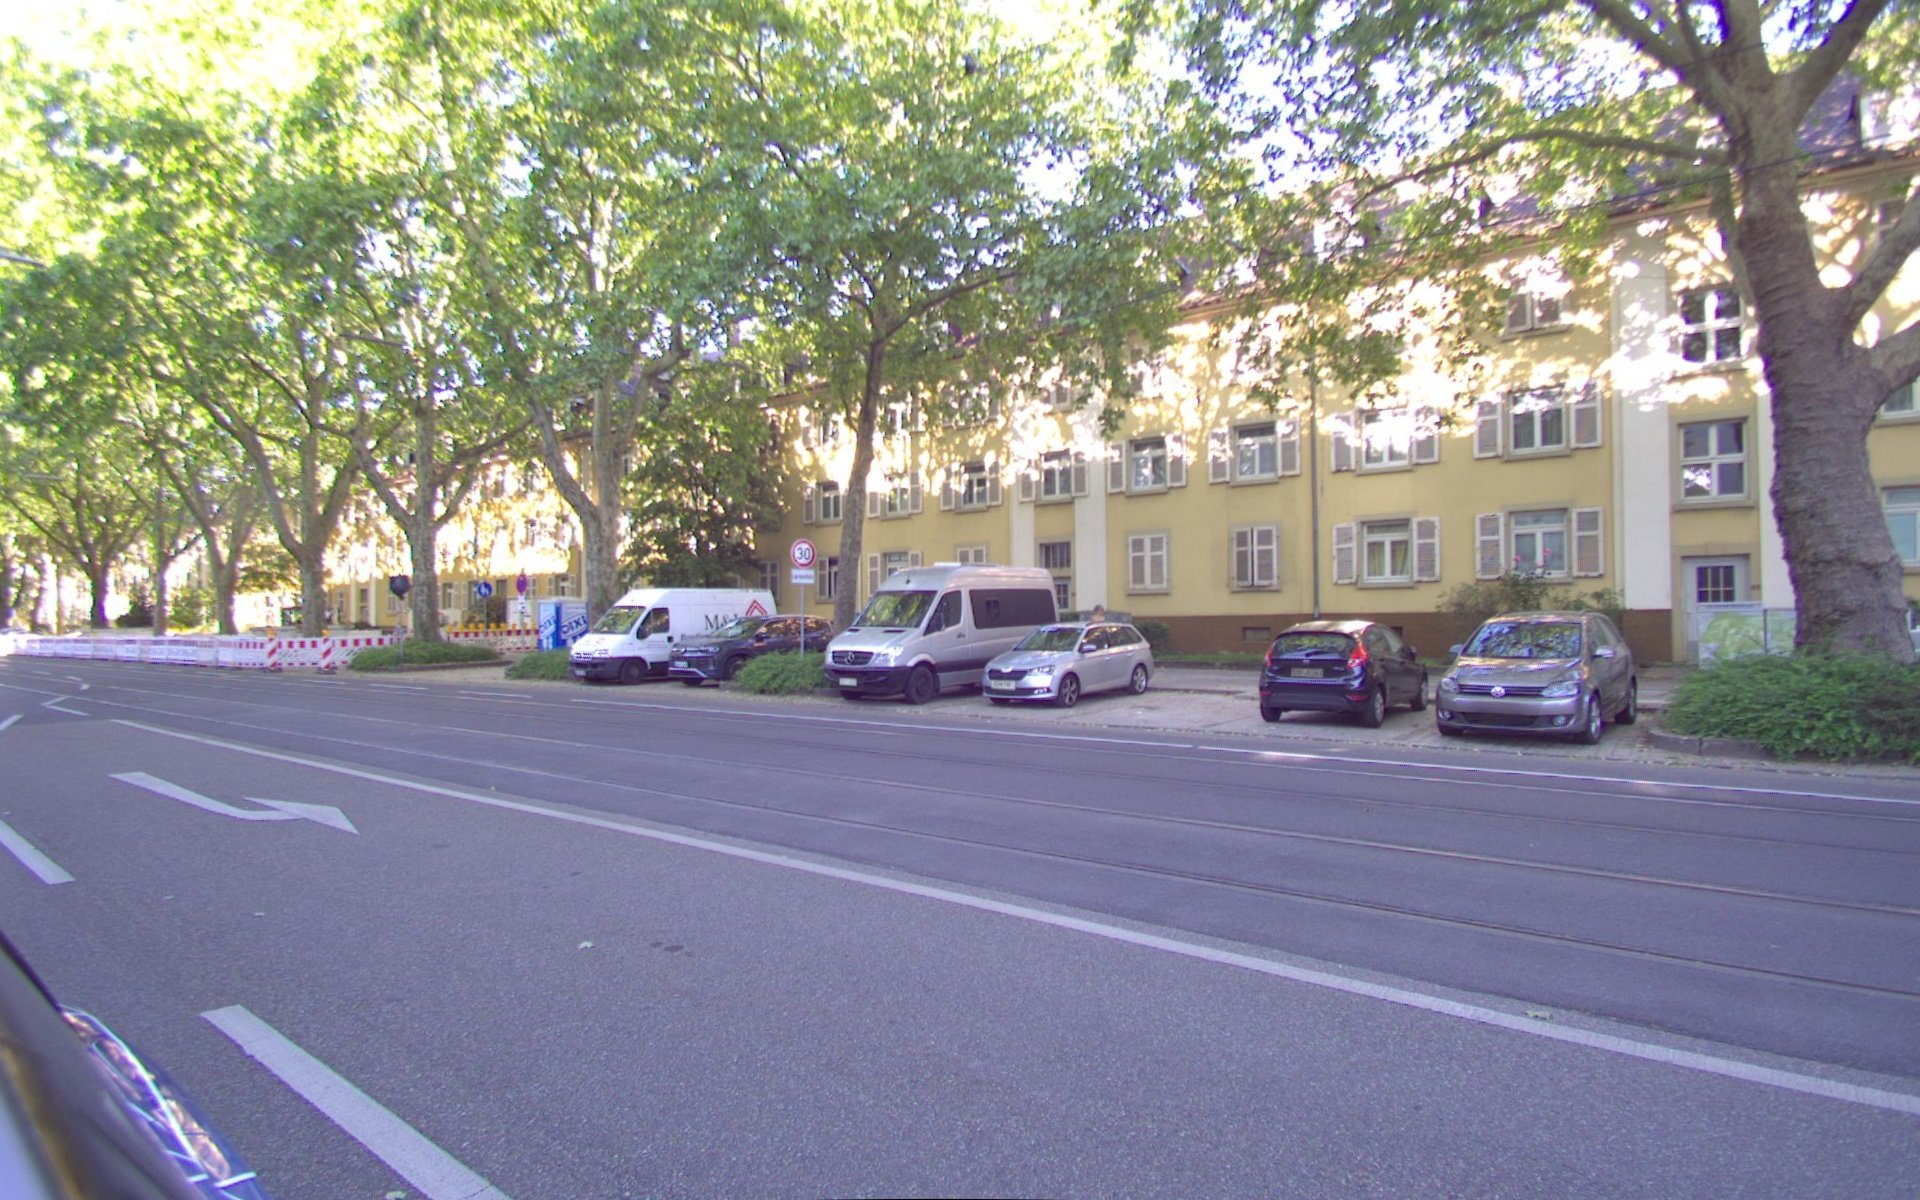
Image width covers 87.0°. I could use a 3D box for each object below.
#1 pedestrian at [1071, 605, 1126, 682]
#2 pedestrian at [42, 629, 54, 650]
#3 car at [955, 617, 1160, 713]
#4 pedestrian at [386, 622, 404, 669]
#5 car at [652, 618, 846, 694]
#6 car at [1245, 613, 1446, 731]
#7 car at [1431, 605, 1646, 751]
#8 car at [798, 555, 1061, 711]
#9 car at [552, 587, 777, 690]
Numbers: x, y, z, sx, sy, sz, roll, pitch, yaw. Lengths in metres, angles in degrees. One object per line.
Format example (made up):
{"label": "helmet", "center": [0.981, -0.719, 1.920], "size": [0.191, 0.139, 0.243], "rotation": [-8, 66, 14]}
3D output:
{"label": "pedestrian", "center": [3.131, 0.967, 22.924], "size": [0.955, 1.673, 0.764], "rotation": [-1, 0, 43]}
{"label": "pedestrian", "center": [-81.639, 3.534, 90.613], "size": [0.722, 1.900, 0.665], "rotation": [-1, 0, -45]}
{"label": "car", "center": [1.910, 1.119, 18.842], "size": [1.773, 1.509, 4.031], "rotation": [-2, -1, 41]}
{"label": "pedestrian", "center": [-21.464, 1.719, 38.429], "size": [0.573, 1.759, 0.654], "rotation": [-1, 0, -32]}
{"label": "car", "center": [-4.980, 1.274, 24.455], "size": [1.772, 1.664, 4.570], "rotation": [-2, -2, 38]}
{"label": "car", "center": [5.963, 0.999, 15.425], "size": [1.671, 1.509, 3.756], "rotation": [-2, -1, 41]}
{"label": "car", "center": [7.741, 0.897, 13.374], "size": [1.672, 1.592, 3.928], "rotation": [-2, -1, 42]}
{"label": "car", "center": [-0.429, 0.607, 20.454], "size": [2.221, 2.702, 5.596], "rotation": [-2, -1, 38]}
{"label": "car", "center": [-7.563, 0.963, 26.382], "size": [2.222, 2.394, 5.336], "rotation": [-2, -2, 40]}
